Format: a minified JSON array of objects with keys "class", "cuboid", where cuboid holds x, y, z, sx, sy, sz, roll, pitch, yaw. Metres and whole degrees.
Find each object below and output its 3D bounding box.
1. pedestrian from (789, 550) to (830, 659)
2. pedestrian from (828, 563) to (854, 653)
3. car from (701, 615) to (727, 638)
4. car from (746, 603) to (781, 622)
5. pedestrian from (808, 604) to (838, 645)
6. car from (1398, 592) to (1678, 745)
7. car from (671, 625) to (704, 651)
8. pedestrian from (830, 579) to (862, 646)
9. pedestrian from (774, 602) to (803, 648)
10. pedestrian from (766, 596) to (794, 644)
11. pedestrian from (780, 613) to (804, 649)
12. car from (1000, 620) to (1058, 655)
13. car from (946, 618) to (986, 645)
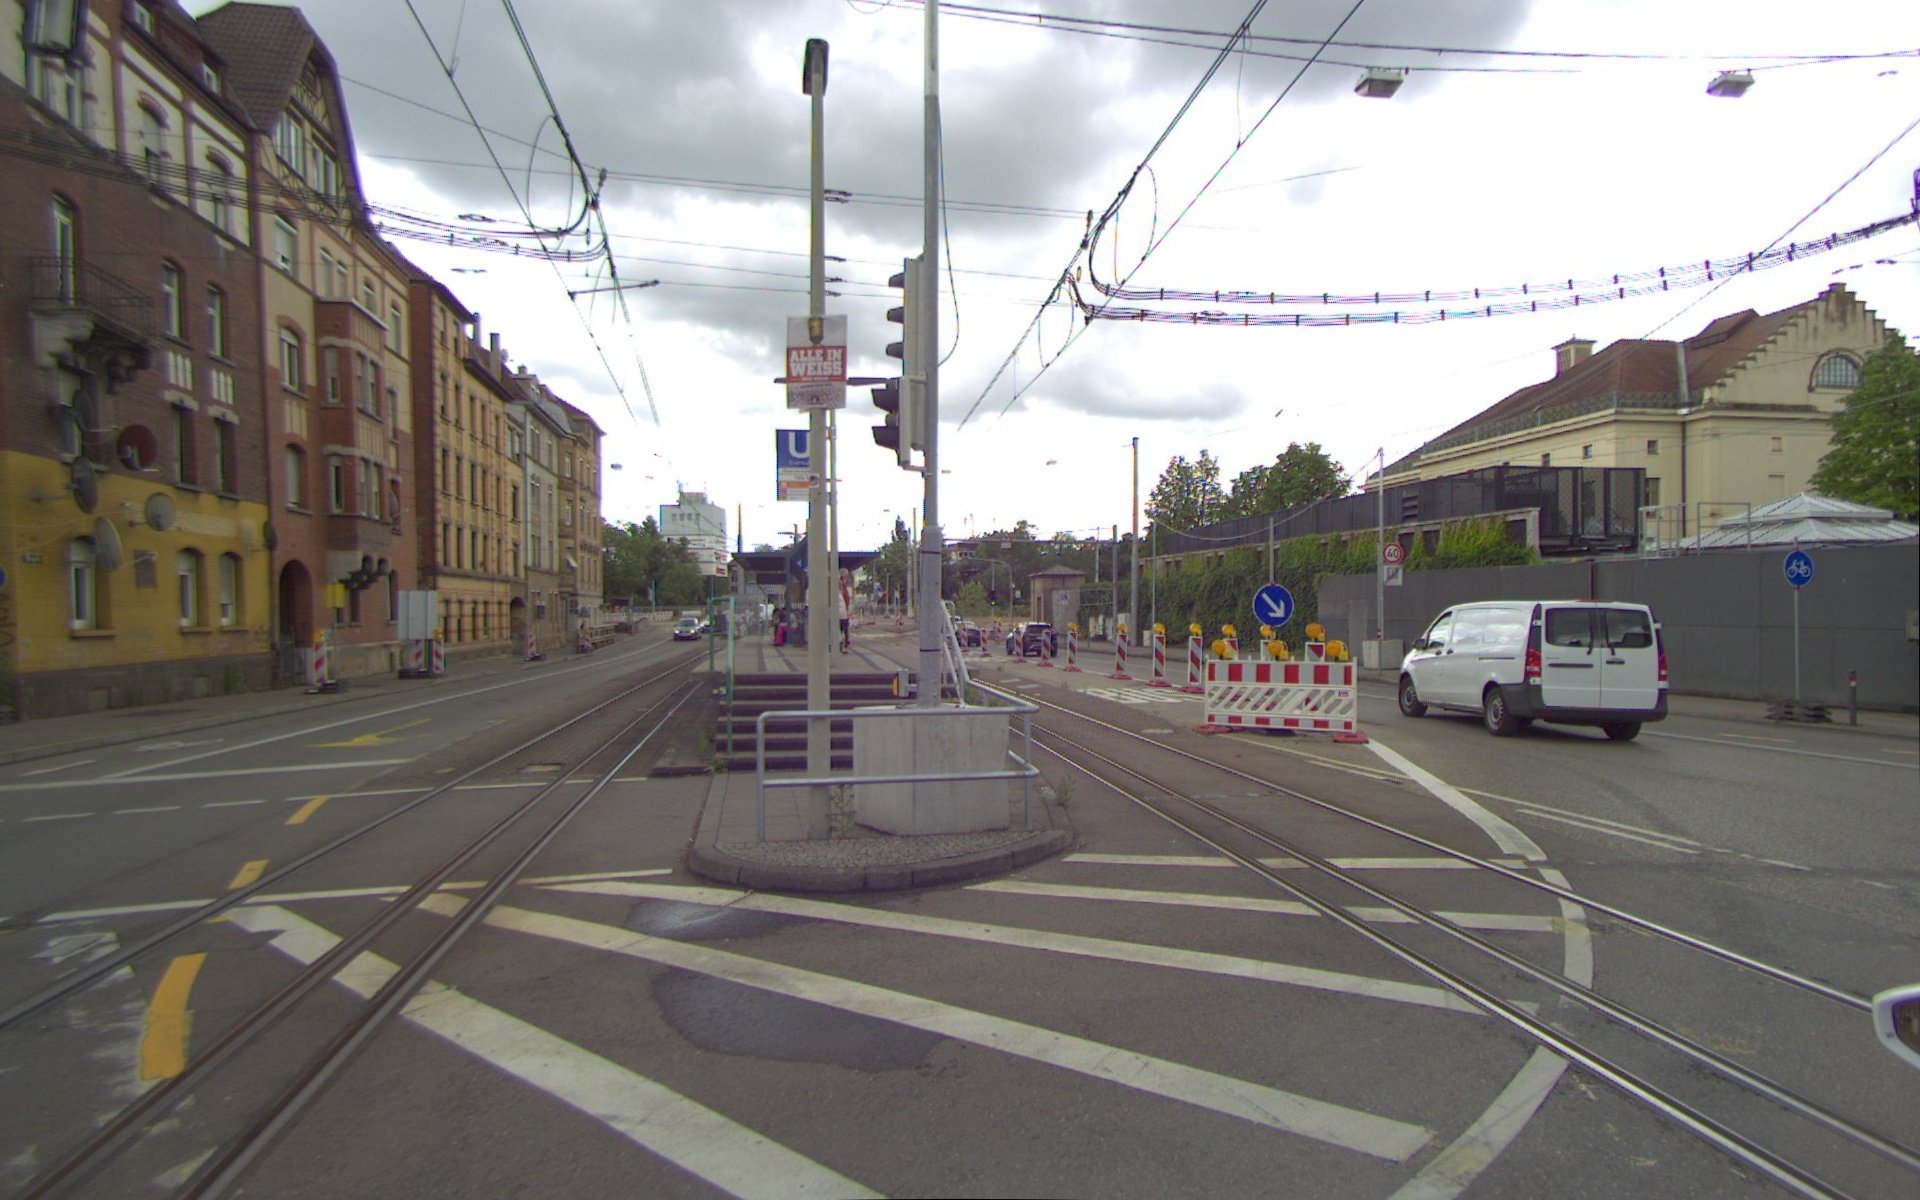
[{"class":"pedestrian","cuboid":[-2.304,0.076,15.395,0.588,1.631,0.524,0,-1,-13]},{"class":"pedestrian","cuboid":[-2.324,0.170,19.603,0.451,1.722,0.597,0,-1,-12]},{"class":"car","cuboid":[-21.118,2.289,86.248,1.965,1.684,3.991,0,3,-11]},{"class":"car","cuboid":[-19.806,1.233,101.560,1.959,1.684,4.001,1,3,14]},{"class":"pedestrian","cuboid":[-3.852,0.671,28.191,0.807,1.138,0.650,0,0,-11]},{"class":"car","cuboid":[8.457,0.929,15.276,1.885,1.926,4.704,1,-1,5]},{"class":"car","cuboid":[-20.542,2.847,75.902,1.963,1.684,3.993,0,2,-9]},{"class":"pedestrian","cuboid":[-2.927,0.323,25.745,0.765,1.699,0.540,0,-1,-13]},{"class":"pedestrian","cuboid":[-4.922,0.710,28.742,0.795,1.286,0.772,0,0,-11]},{"class":"pedestrian","cuboid":[-5.318,0.579,29.641,0.807,1.391,0.934,0,0,-11]},{"class":"pedestrian","cuboid":[-4.682,0.870,27.989,0.651,0.992,0.512,0,-1,-13]},{"class":"car","cuboid":[3.203,1.733,47.469,1.726,1.572,3.991,1,-1,-12]},{"class":"car","cuboid":[0.341,1.923,61.935,1.726,1.572,3.992,1,-1,-11]}]
